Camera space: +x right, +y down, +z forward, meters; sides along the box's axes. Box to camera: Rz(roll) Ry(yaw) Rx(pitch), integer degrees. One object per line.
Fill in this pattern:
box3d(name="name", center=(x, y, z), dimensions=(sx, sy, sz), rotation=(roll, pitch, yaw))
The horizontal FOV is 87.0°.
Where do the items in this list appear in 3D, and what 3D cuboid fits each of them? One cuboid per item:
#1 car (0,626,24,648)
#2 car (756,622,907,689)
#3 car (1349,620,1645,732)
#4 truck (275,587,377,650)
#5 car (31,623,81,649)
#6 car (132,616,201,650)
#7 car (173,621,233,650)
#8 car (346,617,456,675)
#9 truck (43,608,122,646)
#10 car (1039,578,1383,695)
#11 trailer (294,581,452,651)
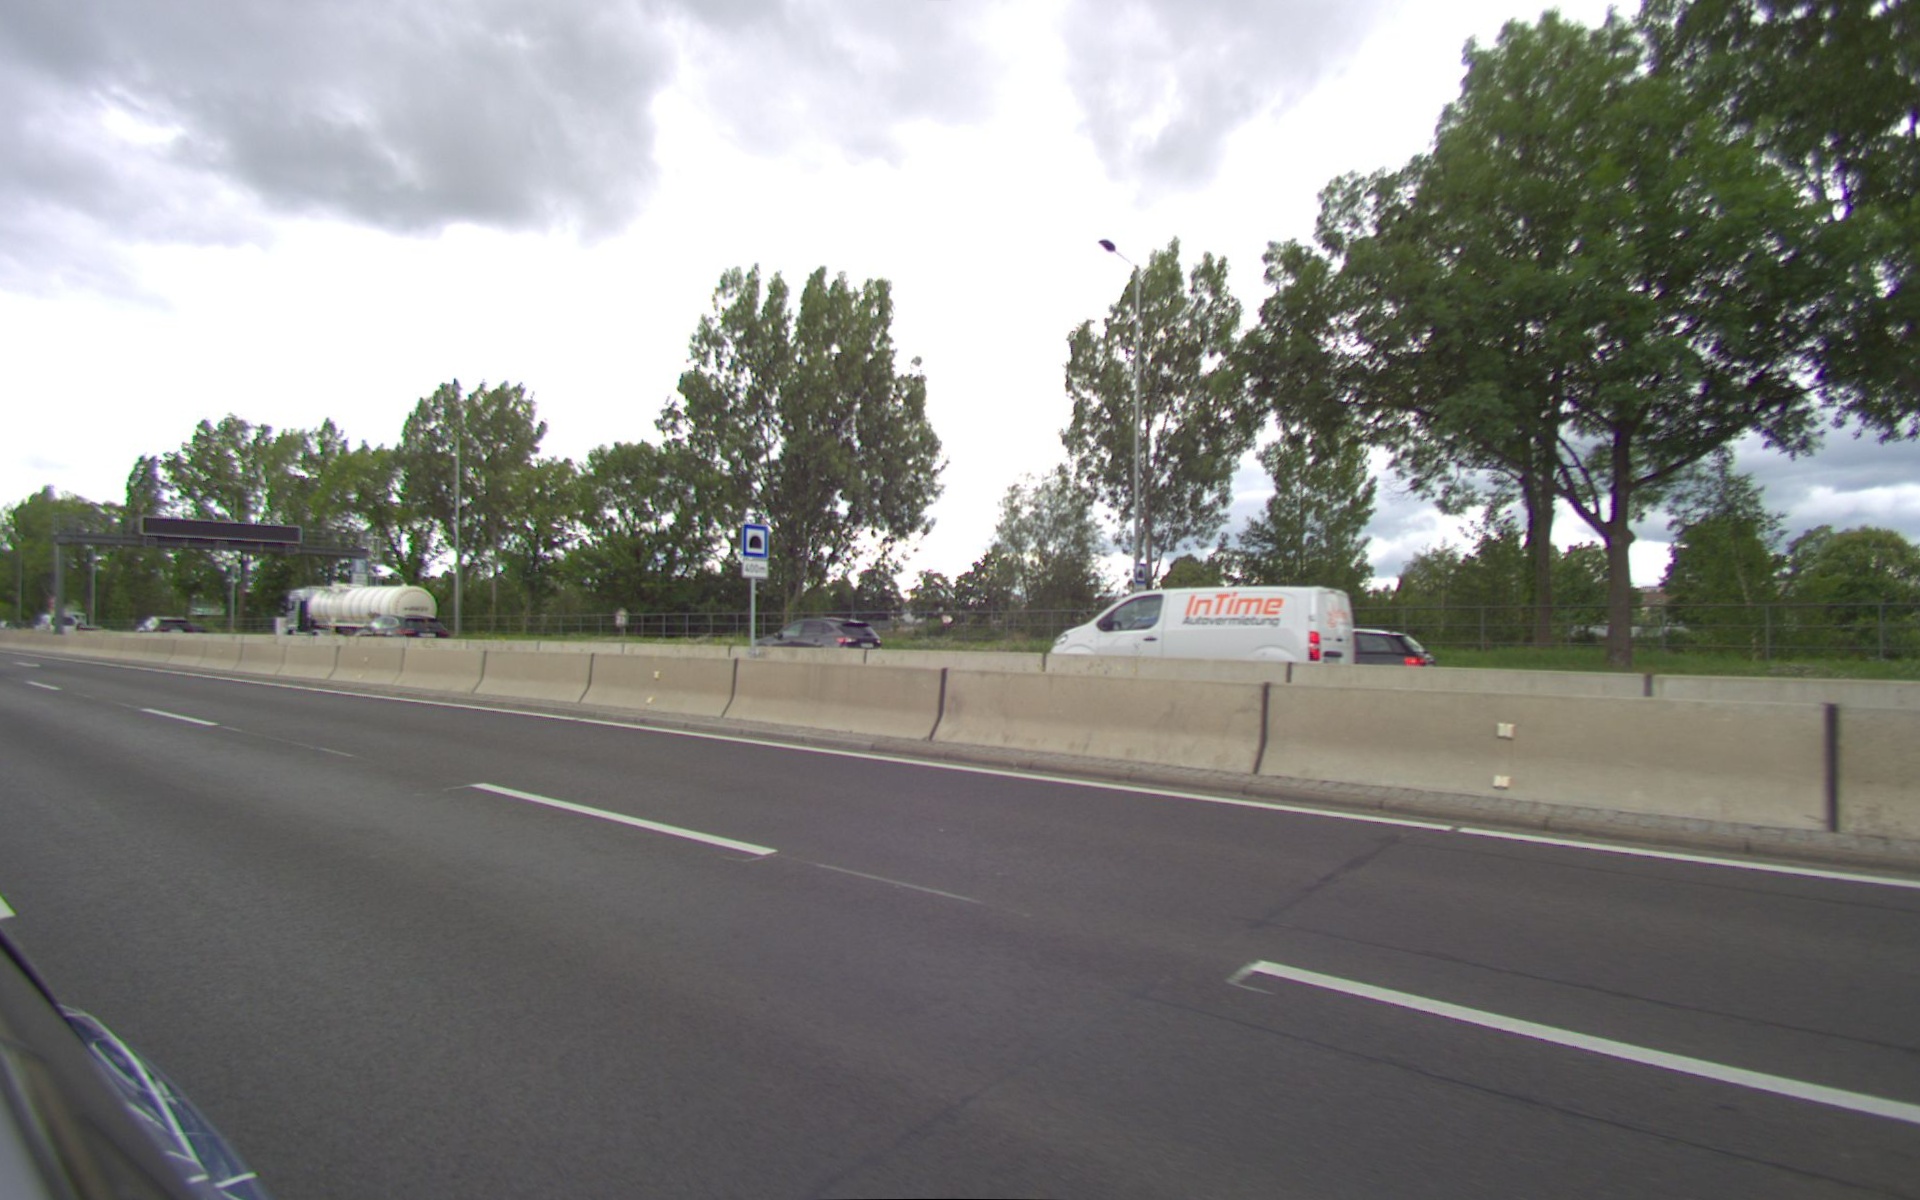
box3d(name="car", center=(-87.486, 3.423, 92.910), dimensions=(4.098, 1.891, 1.798), rotation=(-2, 0, 41))
box3d(name="car", center=(-3.804, 1.573, 29.500), dimensions=(4.301, 1.752, 1.973), rotation=(-2, 0, 41))
box3d(name="car", center=(9.780, 1.305, 18.630), dimensions=(4.467, 1.752, 1.973), rotation=(-2, 0, 41))
box3d(name="truck", center=(-34.817, 1.023, 55.556), dimensions=(5.384, 3.243, 3.068), rotation=(-2, 0, 38))
box3d(name="car", center=(-62.022, 2.456, 69.400), dimensions=(4.694, 1.630, 1.973), rotation=(-2, 0, 41))
box3d(name="car", center=(-41.405, 1.738, 52.790), dimensions=(4.694, 1.630, 1.973), rotation=(-2, 0, 41))
box3d(name="car", center=(-45.855, 2.135, 61.269), dimensions=(4.694, 1.630, 1.973), rotation=(-2, 0, 41))
box3d(name="car", center=(-18.888, 1.526, 34.150), dimensions=(3.998, 1.752, 1.973), rotation=(-2, 0, 41))
box3d(name="truck", center=(-79.654, 2.471, 91.680), dimensions=(15.870, 3.130, 2.825), rotation=(-2, 0, 40))
box3d(name="car", center=(3.821, 0.541, 15.973), dimensions=(4.881, 1.571, 1.973), rotation=(-2, 0, 40))
box3d(name="trailer", center=(-30.242, 0.874, 51.814), dimensions=(11.656, 3.244, 3.070), rotation=(-2, 0, 39))
